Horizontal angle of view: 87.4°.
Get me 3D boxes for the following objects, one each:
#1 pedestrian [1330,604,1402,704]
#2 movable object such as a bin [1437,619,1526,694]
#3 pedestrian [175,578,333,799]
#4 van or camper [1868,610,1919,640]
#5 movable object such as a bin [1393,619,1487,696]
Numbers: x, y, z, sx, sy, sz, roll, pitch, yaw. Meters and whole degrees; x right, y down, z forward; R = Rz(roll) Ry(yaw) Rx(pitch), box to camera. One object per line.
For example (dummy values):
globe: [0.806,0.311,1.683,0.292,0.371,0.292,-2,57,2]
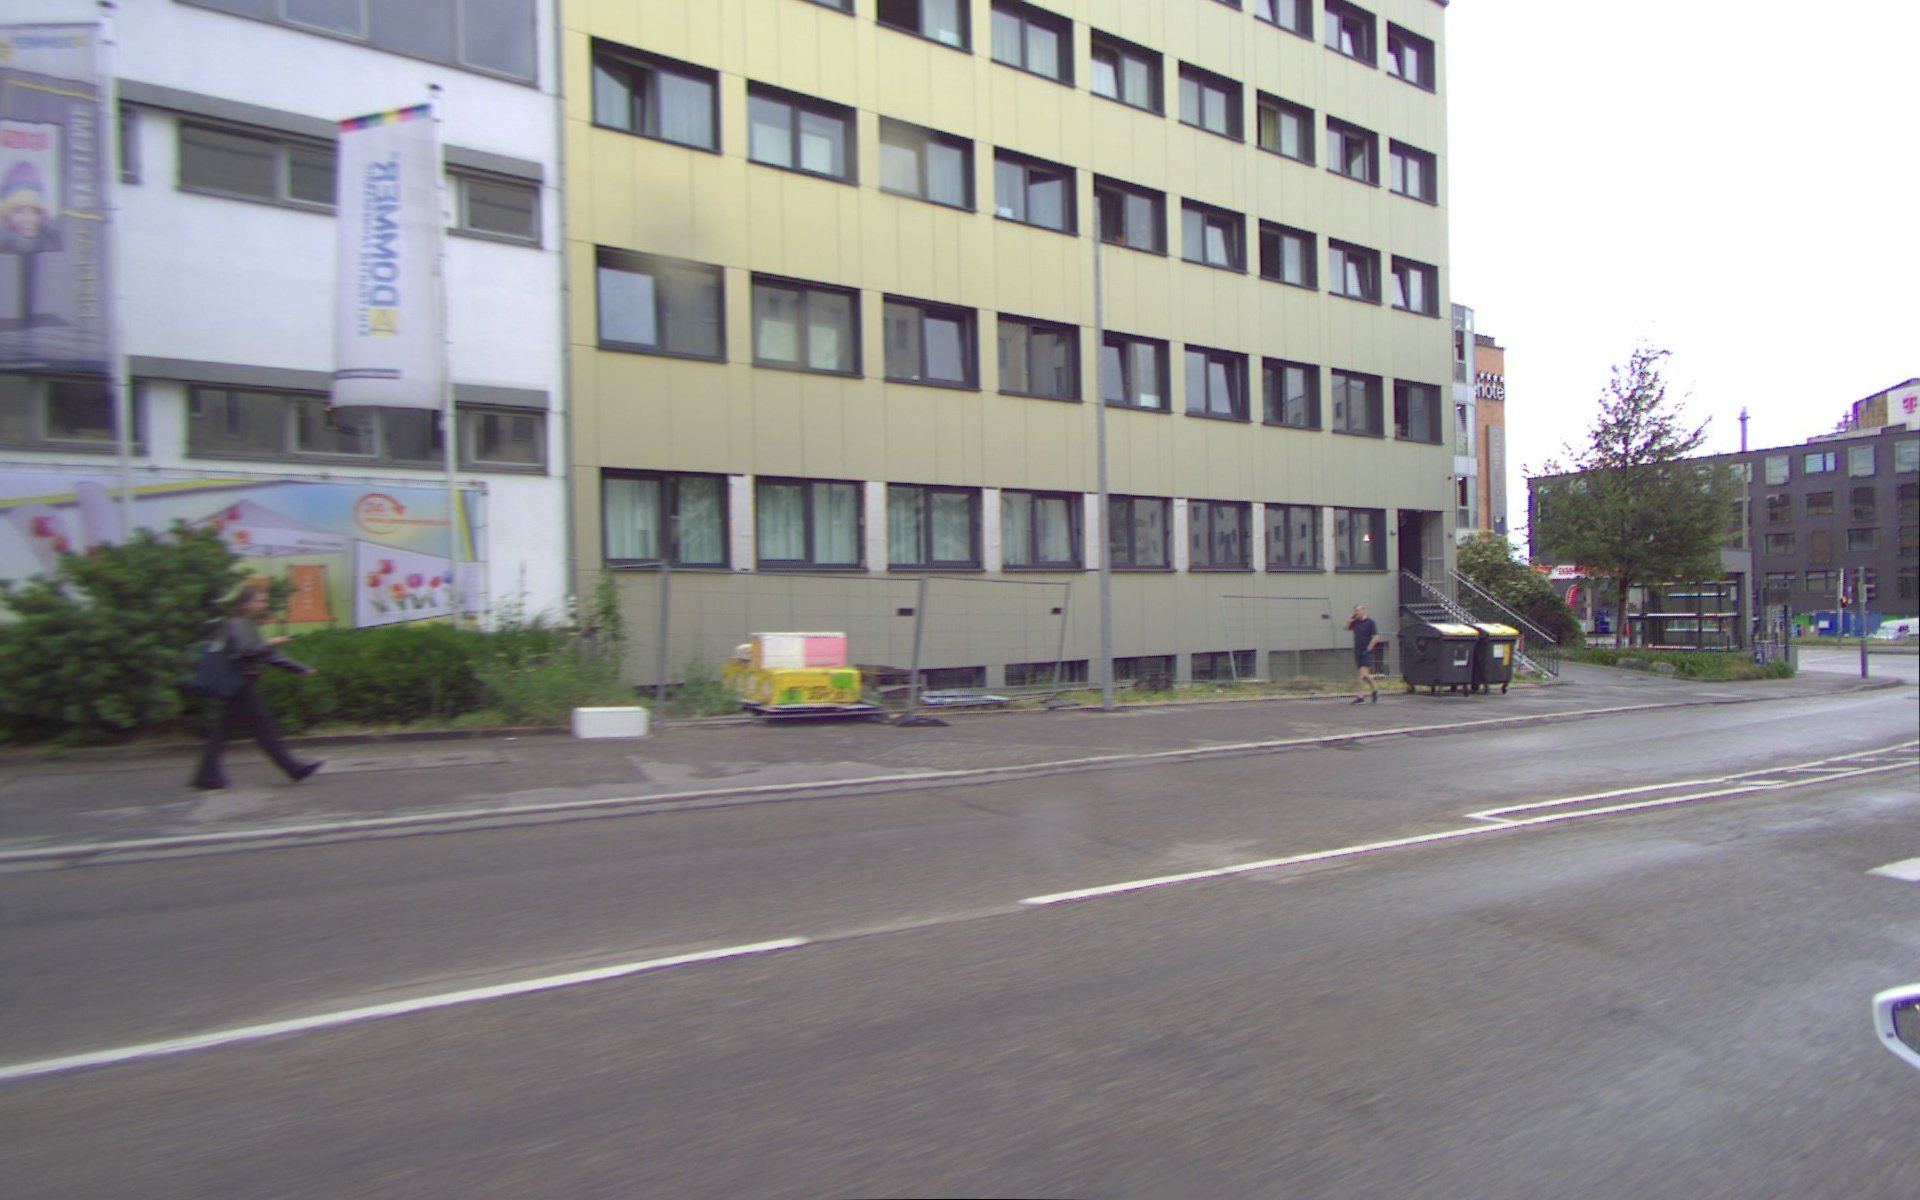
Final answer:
pedestrian: [7.392,0.971,18.313,0.930,1.755,0.752,2,0,-28]
movable object such as a bin: [10.972,1.179,21.148,1.342,1.464,1.049,2,1,-29]
pedestrian: [-5.782,0.687,8.292,0.957,1.699,0.763,2,0,-30]
van or camper: [79.559,2.101,83.607,2.709,2.400,5.301,2,0,-31]
movable object such as a bin: [9.754,1.156,20.434,1.413,1.464,1.049,2,1,-29]
